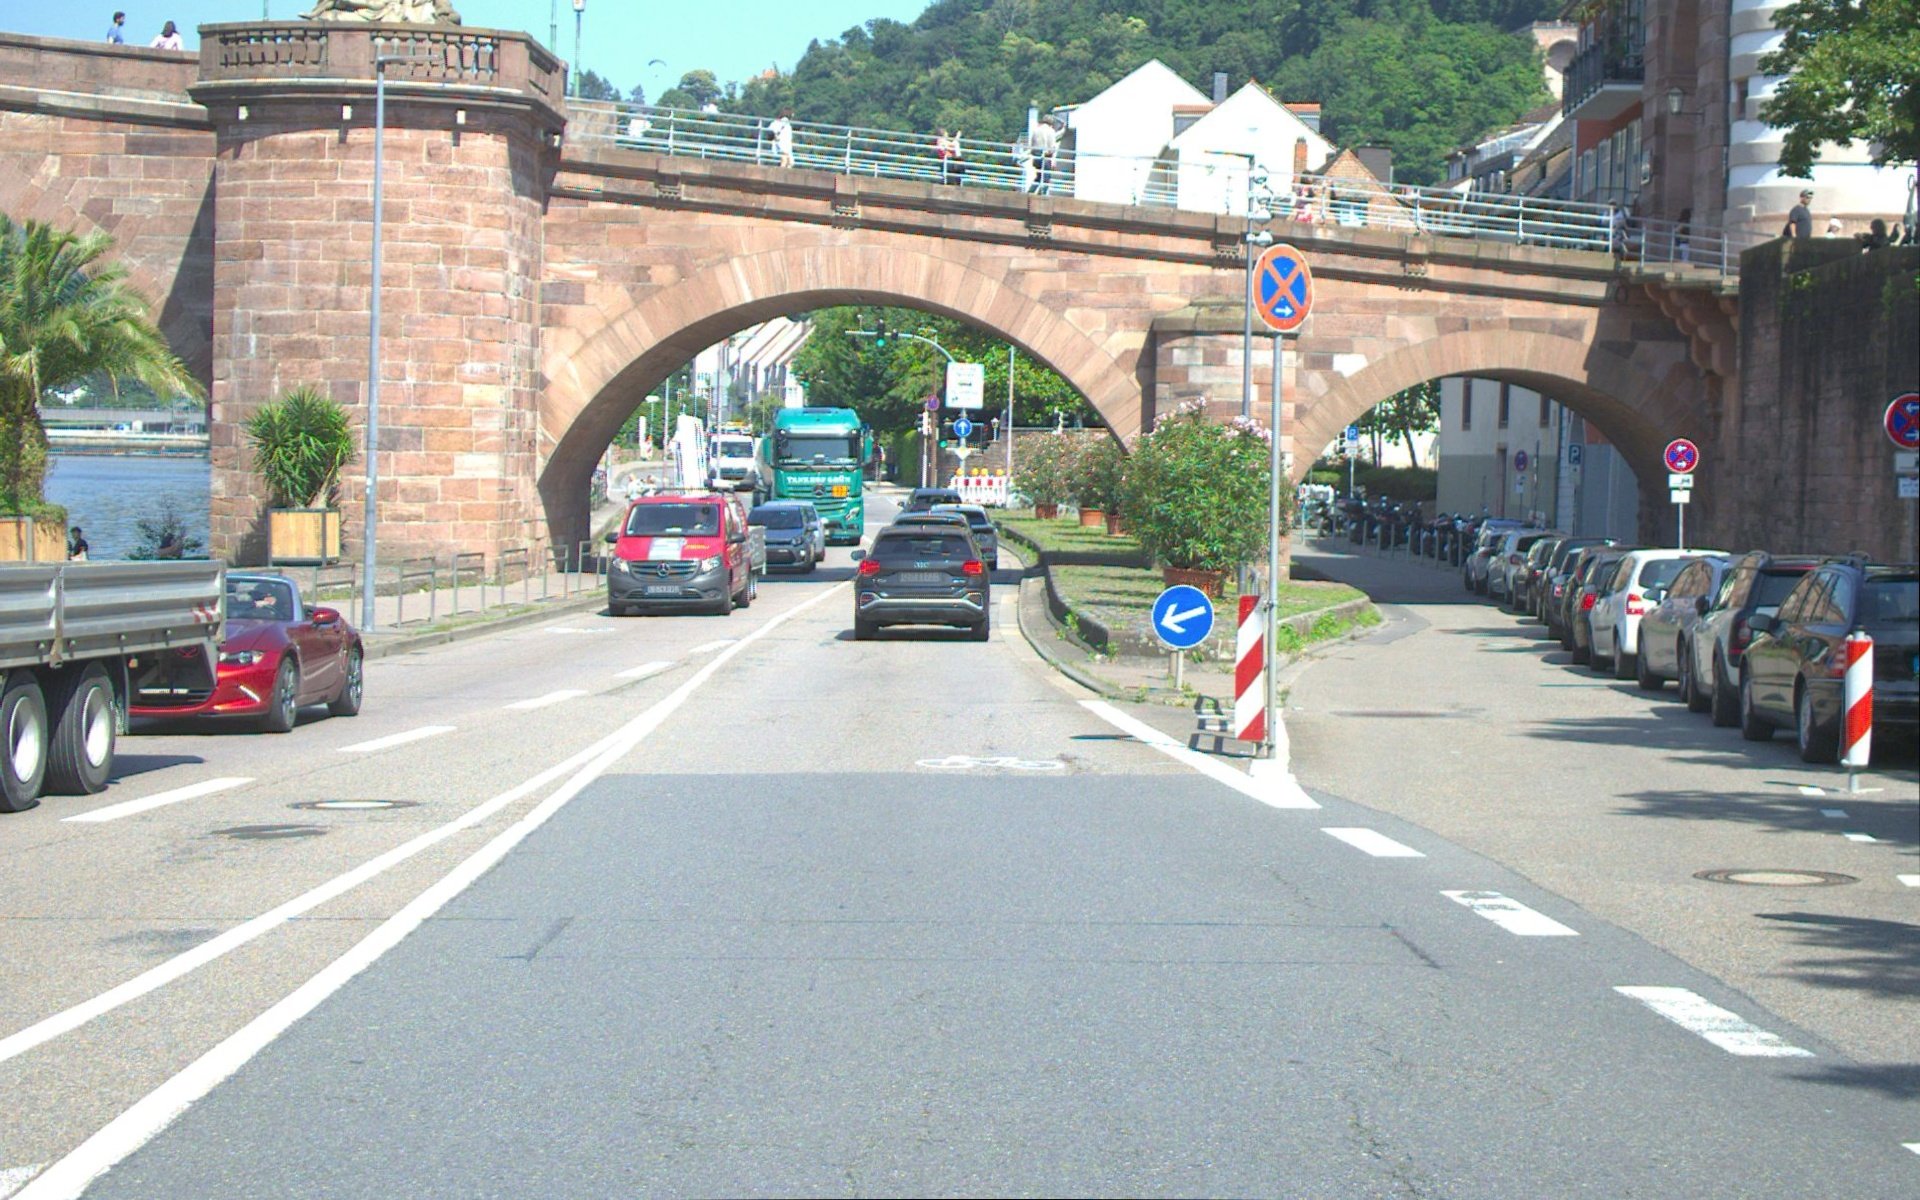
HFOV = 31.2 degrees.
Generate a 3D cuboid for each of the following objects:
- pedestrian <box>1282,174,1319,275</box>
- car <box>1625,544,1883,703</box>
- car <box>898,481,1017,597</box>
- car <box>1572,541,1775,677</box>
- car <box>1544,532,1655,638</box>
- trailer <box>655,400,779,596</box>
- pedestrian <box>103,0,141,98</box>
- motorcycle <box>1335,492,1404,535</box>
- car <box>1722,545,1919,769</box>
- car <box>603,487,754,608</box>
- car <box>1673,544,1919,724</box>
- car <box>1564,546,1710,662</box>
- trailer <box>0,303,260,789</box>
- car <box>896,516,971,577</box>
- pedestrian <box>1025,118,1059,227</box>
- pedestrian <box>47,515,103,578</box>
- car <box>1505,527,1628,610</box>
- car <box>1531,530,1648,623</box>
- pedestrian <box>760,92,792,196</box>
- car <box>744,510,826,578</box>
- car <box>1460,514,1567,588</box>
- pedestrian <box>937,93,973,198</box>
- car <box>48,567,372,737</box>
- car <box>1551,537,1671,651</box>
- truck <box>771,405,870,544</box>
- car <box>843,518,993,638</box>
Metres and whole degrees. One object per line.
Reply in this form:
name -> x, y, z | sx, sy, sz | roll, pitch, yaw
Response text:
pedestrian -> 6.976, -7.688, 70.452 | 0.684, 2.007, 0.586 | 0, 1, 2
car -> 7.953, 0.182, 34.826 | 1.754, 1.427, 4.756 | 1, 1, 3
car -> -0.006, -1.122, 62.027 | 1.993, 2.007, 4.000 | 1, 2, 2
car -> 8.237, 0.066, 39.965 | 1.711, 1.452, 3.547 | 1, 1, 2
car -> 9.940, -0.269, 53.400 | 1.592, 1.515, 3.901 | 1, 2, 11
trailer -> -4.217, -1.783, 60.184 | 1.742, 3.309, 3.384 | -1, 2, 3
pedestrian -> -16.146, -10.716, 66.231 | 0.623, 2.007, 0.695 | 0, 1, -6
motorcycle -> 12.328, -2.604, 103.424 | 2.191, 1.262, 0.628 | -1, 3, -37
car -> 6.848, 0.359, 25.165 | 1.843, 1.445, 4.534 | 1, 1, 5
car -> -4.456, -0.875, 54.974 | 1.874, 1.821, 4.544 | 0, 2, 2
car -> 7.229, 0.244, 29.927 | 1.612, 1.408, 3.902 | 1, 1, 6
car -> 8.607, 0.015, 43.951 | 1.711, 1.383, 4.406 | 0, 1, 10
trailer -> -6.230, -0.295, 19.315 | 2.698, 2.522, 6.946 | 0, 1, 4
car -> -0.770, -1.524, 97.179 | 1.993, 1.656, 4.001 | 1, 1, -2
pedestrian -> 1.568, -8.150, 65.567 | 0.623, 2.007, 0.695 | 0, 1, 2
pedestrian -> -17.812, -1.087, 69.215 | 0.726, 1.236, 1.145 | 1, 1, 5
car -> 11.414, -0.627, 64.937 | 1.776, 1.431, 4.492 | 1, 2, 4
car -> 10.906, -0.438, 59.735 | 1.776, 1.497, 3.986 | 0, 2, 7
pedestrian -> -3.657, -9.082, 68.508 | 0.581, 2.007, 0.586 | 0, 1, 2
car -> -3.859, -1.256, 76.290 | 1.535, 1.431, 3.728 | 0, 2, 1
car -> 11.980, -1.090, 74.658 | 1.893, 1.487, 4.416 | 0, 2, 4
pedestrian -> -0.100, -9.054, 68.508 | 0.684, 2.007, 0.586 | 0, 1, 2
car -> -5.880, 0.371, 27.334 | 1.671, 1.190, 3.629 | -1, 1, 2
car -> 9.185, -0.121, 48.684 | 1.495, 1.479, 3.715 | 1, 2, 8
truck -> -3.863, -3.565, 96.150 | 2.523, 3.735, 6.247 | -1, 3, 0
car -> -0.522, -0.335, 46.315 | 1.857, 1.518, 4.000 | 0, 2, 1
